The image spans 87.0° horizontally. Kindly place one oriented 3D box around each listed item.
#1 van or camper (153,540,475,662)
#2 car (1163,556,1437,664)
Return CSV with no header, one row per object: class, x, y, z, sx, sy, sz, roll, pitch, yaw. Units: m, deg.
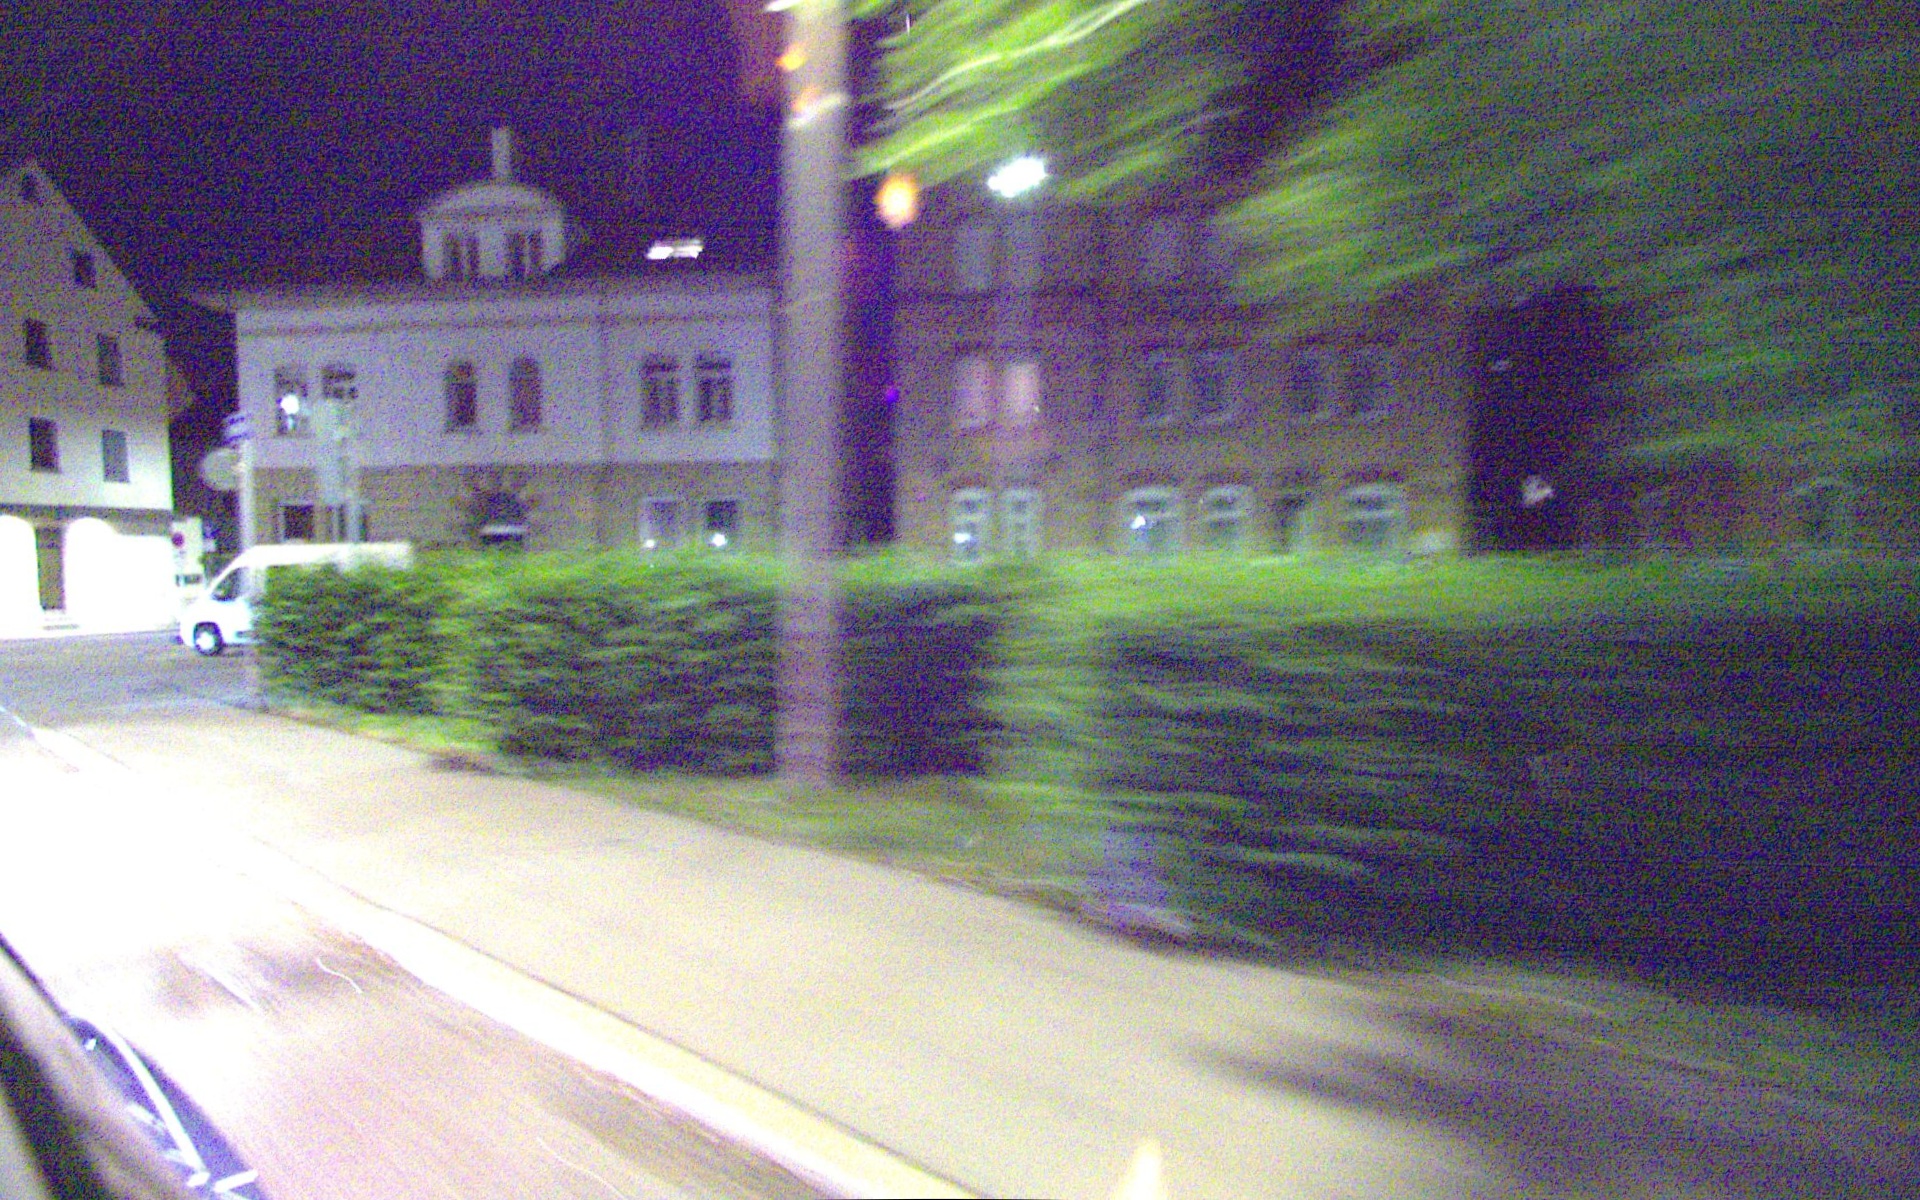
van or camper,-14.345,0.039,22.645,6.153,2.555,2.160,0,-1,8
car,6.444,0.173,19.721,4.749,1.969,1.995,0,1,8
